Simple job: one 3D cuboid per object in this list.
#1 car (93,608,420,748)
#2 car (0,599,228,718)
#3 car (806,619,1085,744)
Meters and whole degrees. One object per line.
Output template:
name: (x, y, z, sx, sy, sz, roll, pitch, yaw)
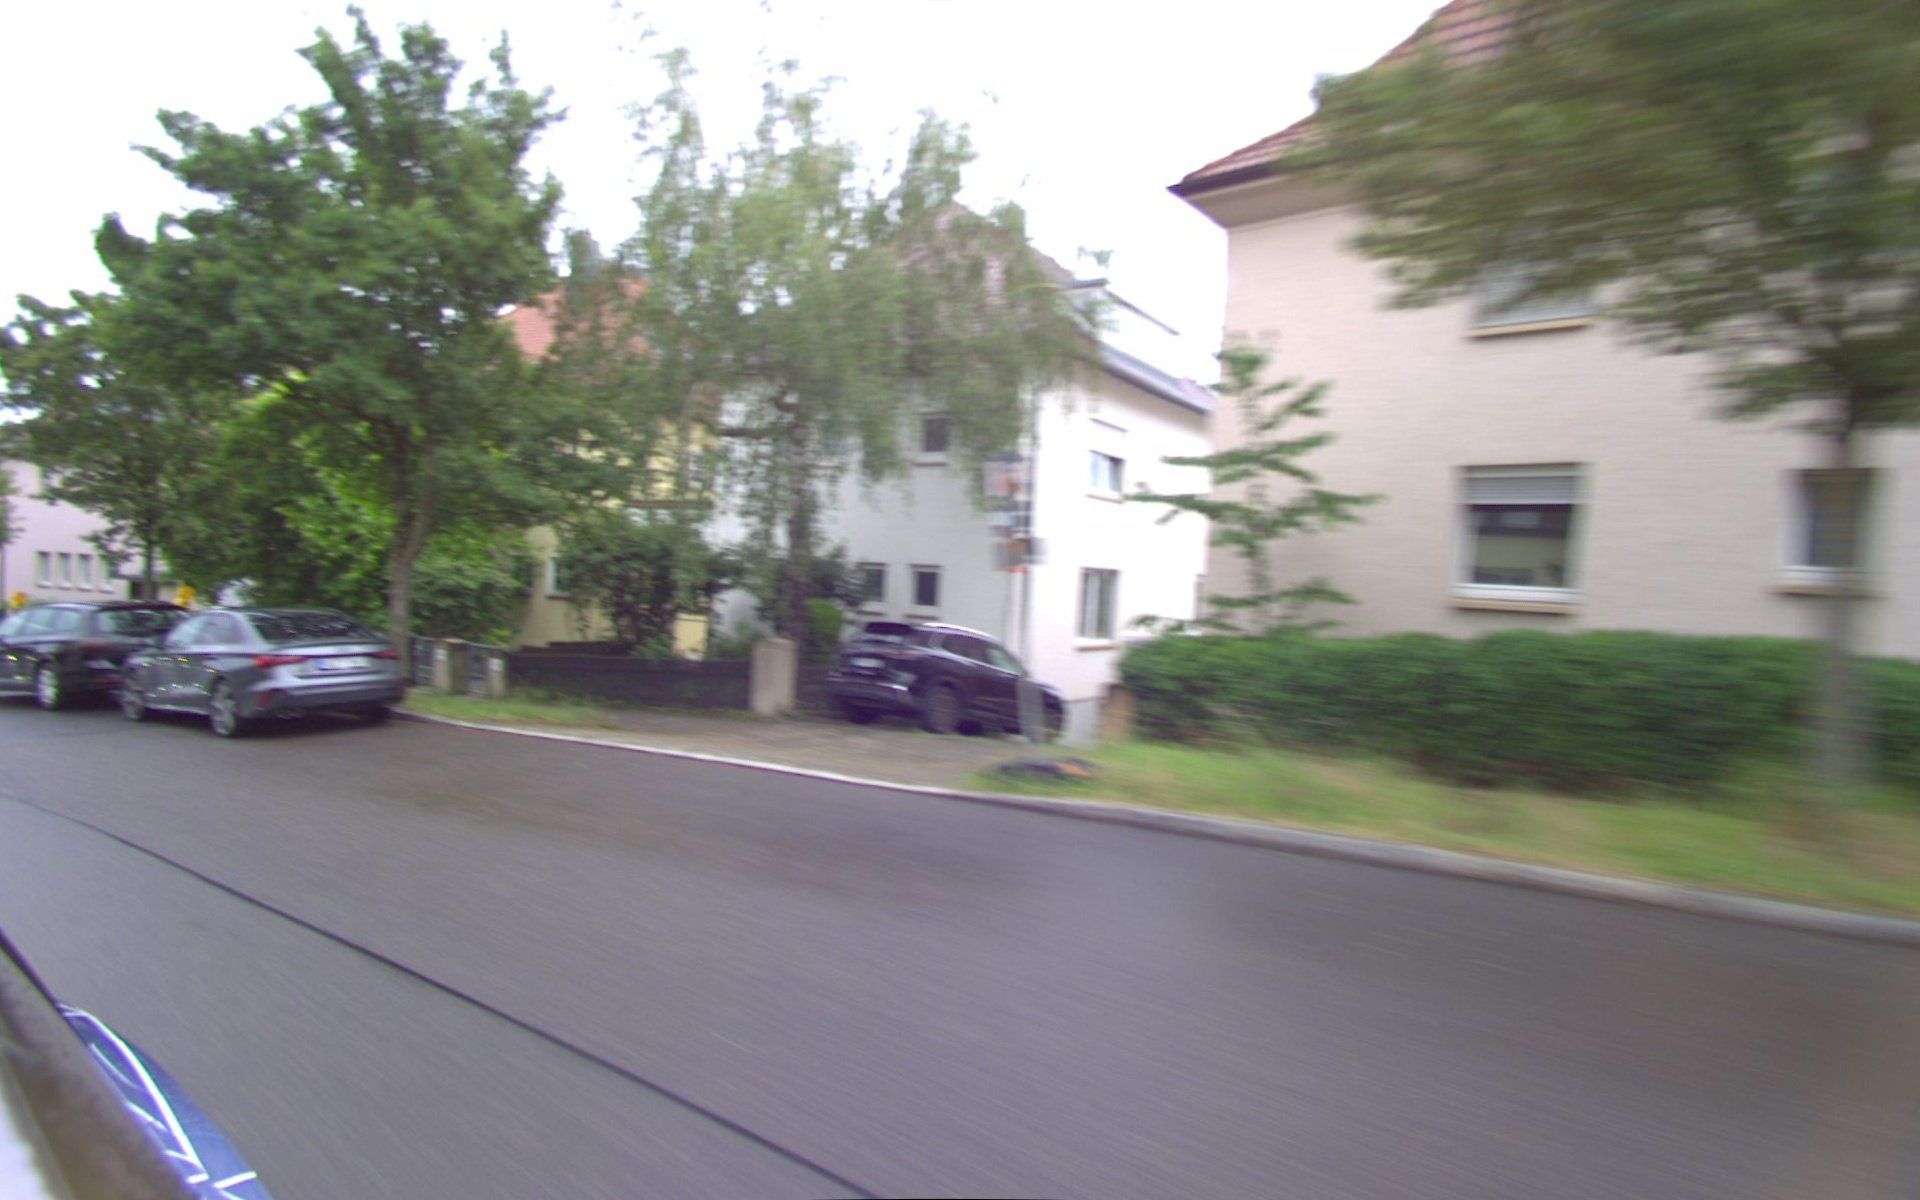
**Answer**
car: (-8.688, 0.821, 12.382, 4.516, 1.393, 1.693, 0, 1, 33)
car: (-12.914, 0.758, 14.830, 4.508, 1.495, 1.722, 0, 1, 28)
car: (-0.098, 1.314, 15.750, 1.914, 1.516, 4.193, 0, -8, 42)
